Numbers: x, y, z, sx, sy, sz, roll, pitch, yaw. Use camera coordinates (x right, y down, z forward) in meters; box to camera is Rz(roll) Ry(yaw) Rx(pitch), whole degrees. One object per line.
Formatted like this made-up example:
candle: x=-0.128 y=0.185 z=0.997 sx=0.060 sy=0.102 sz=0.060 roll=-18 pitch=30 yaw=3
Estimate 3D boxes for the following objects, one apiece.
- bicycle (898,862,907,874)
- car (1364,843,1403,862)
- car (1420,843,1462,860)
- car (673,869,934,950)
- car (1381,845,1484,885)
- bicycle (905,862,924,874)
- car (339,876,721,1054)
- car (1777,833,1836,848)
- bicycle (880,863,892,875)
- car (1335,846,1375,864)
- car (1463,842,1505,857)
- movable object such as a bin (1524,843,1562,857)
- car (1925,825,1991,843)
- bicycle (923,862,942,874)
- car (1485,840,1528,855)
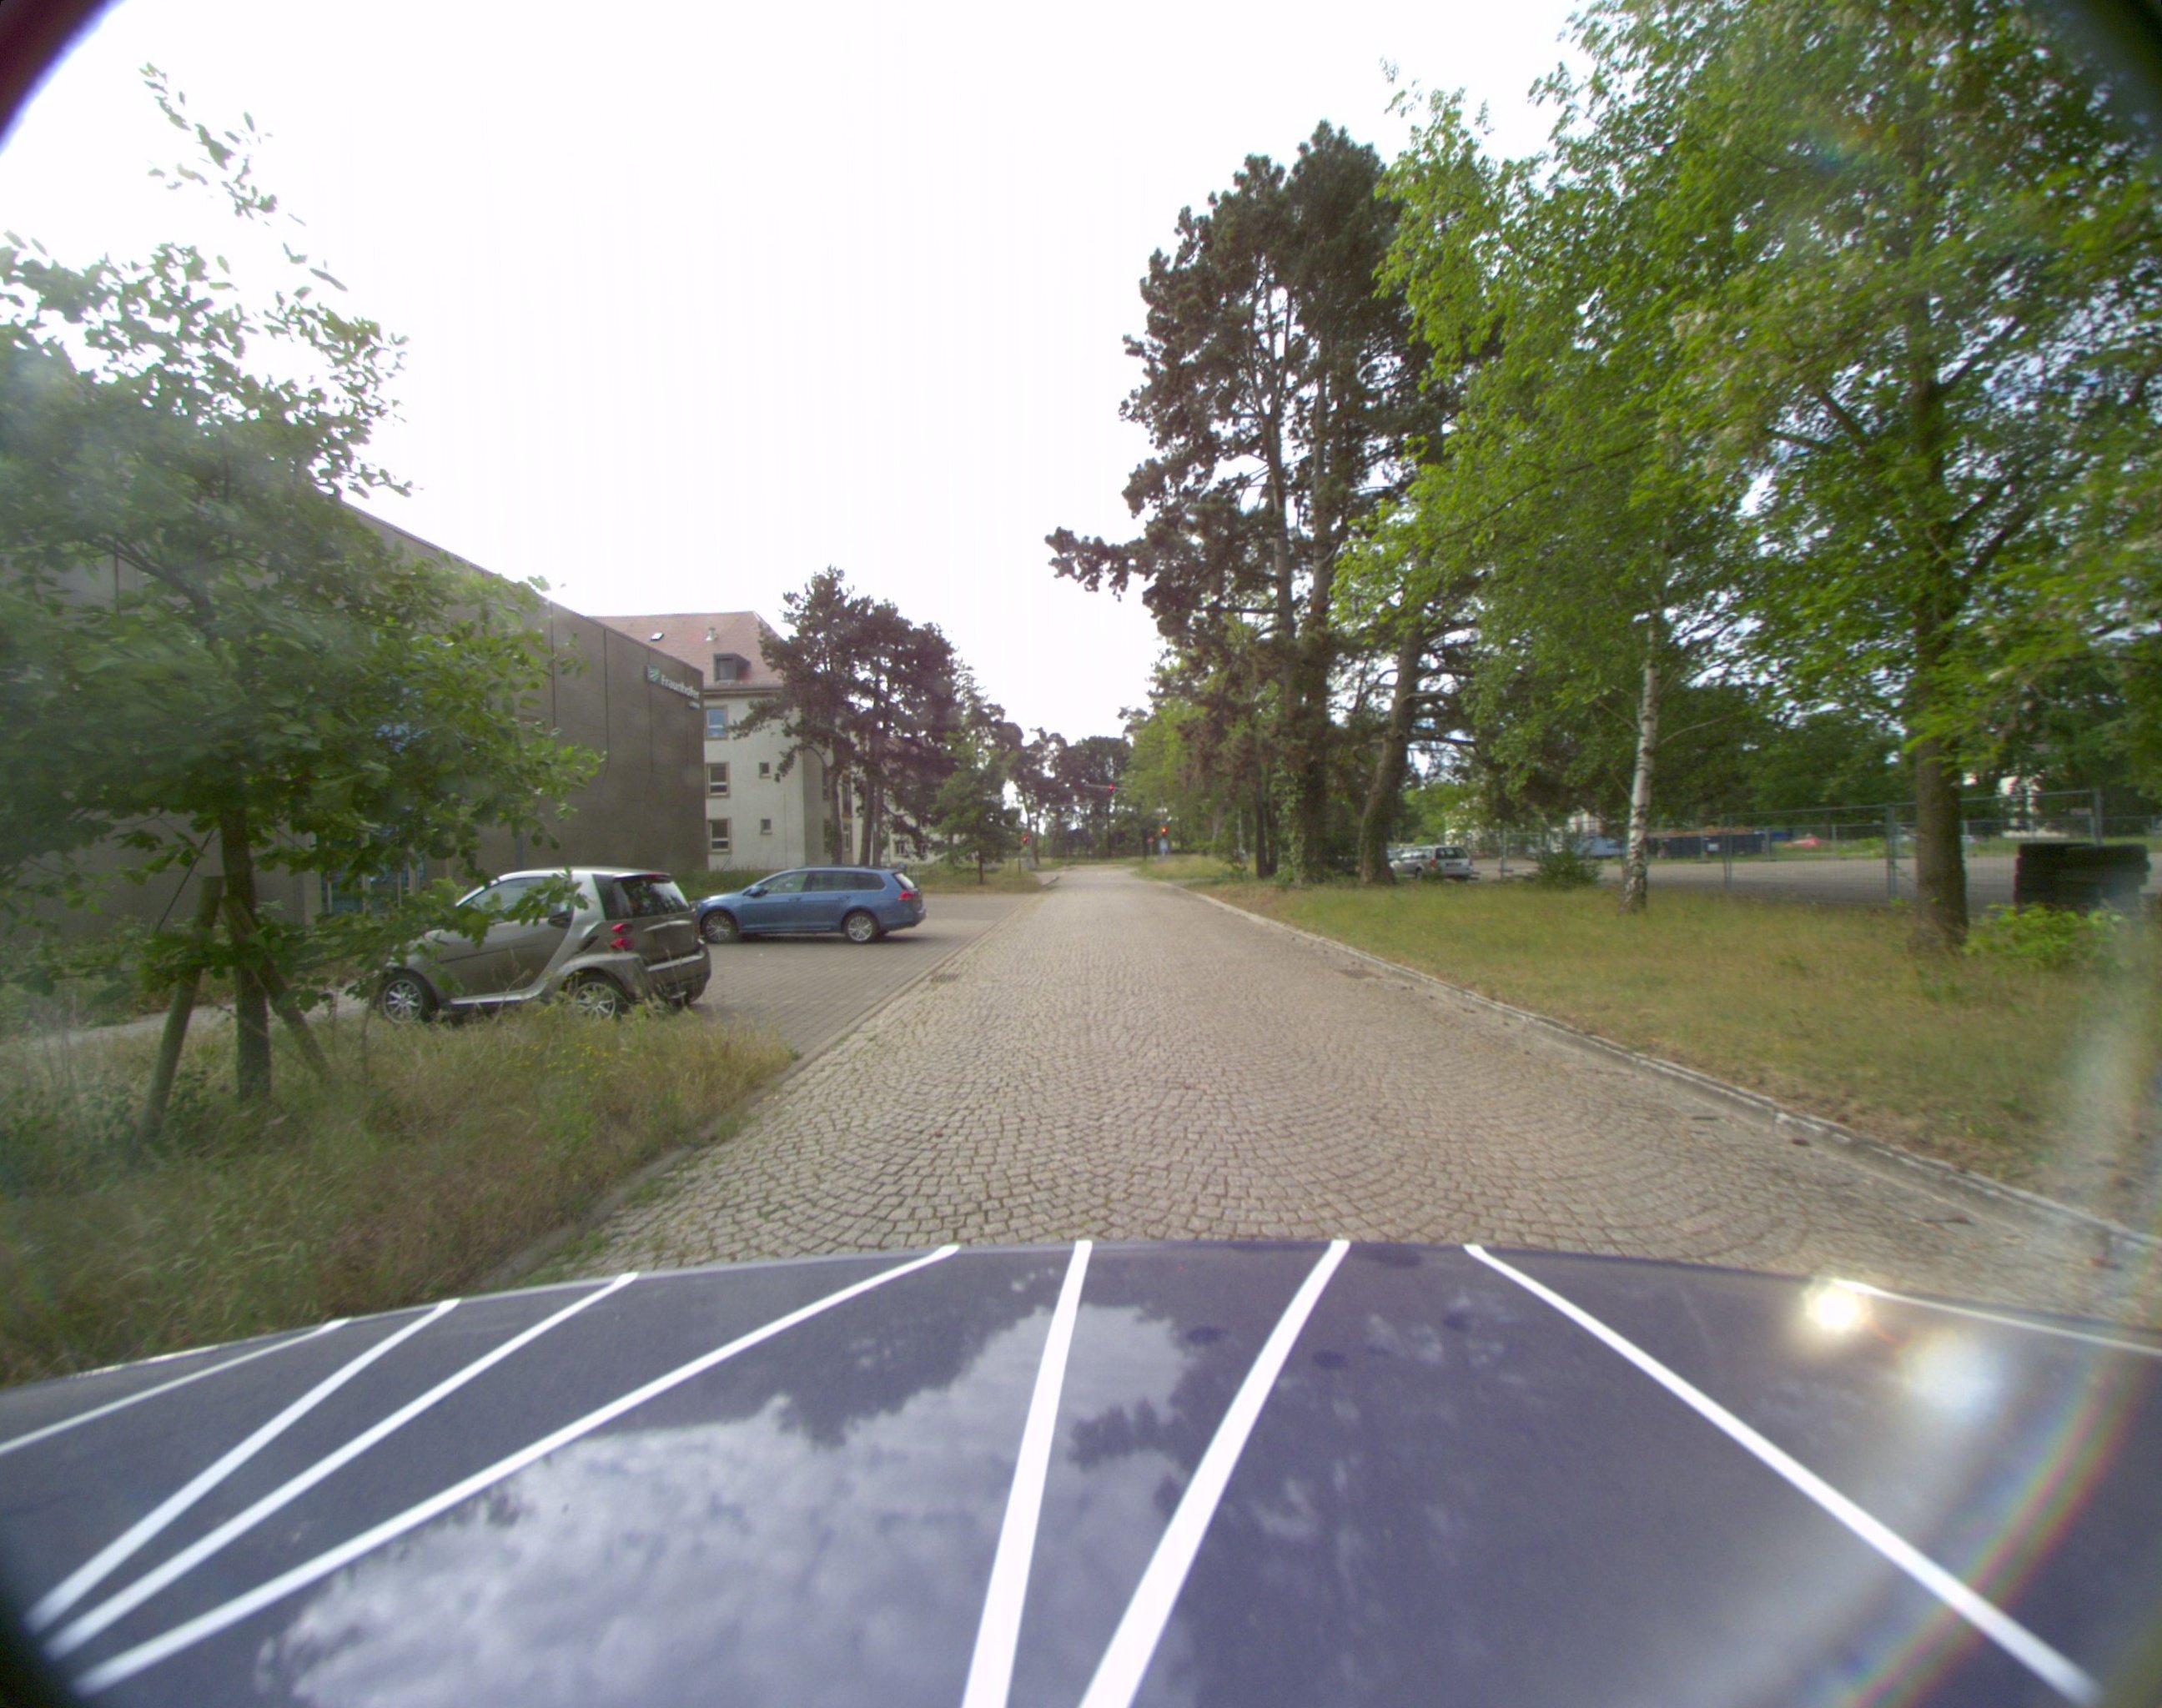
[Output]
bicycle: x=-17.571 y=1.405 z=74.942 sx=0.476 sy=1.121 sz=1.656 roll=-2 pitch=0 yaw=0
car: x=26.492 y=-0.111 z=66.685 sx=1.674 sy=1.510 sz=3.899 roll=-2 pitch=-2 yaw=-2
car: x=31.944 y=-0.193 z=67.543 sx=1.637 sy=1.391 sz=4.036 roll=-2 pitch=0 yaw=-2
car: x=-5.338 y=1.047 z=15.089 sx=4.502 sy=1.466 sz=1.830 roll=0 pitch=0 yaw=-2
car: x=13.412 y=0.388 z=29.339 sx=1.829 sy=1.408 sz=4.420 roll=1 pitch=0 yaw=-2
bicycle: x=-16.020 y=1.320 z=73.293 sx=1.655 sy=1.079 sz=0.615 roll=-2 pitch=1 yaw=3
car: x=-5.443 y=1.032 z=7.770 sx=2.716 sy=1.547 sz=1.654 roll=0 pitch=0 yaw=3
car: x=74.202 y=-1.377 z=77.777 sx=1.829 sy=1.466 sz=4.402 roll=-2 pitch=0 yaw=0
bicycle: x=-19.166 y=1.445 z=74.811 sx=0.447 sy=1.121 sz=1.732 roll=-2 pitch=0 yaw=9
car: x=23.989 y=0.073 z=66.656 sx=1.829 sy=1.417 sz=4.319 roll=-2 pitch=0 yaw=-2
car: x=41.194 y=-0.470 z=77.843 sx=1.829 sy=1.466 sz=4.401 roll=-2 pitch=0 yaw=-2
movable object such as a bin: x=33.056 y=-0.258 z=54.423 sx=1.447 sy=0.963 sz=1.957 roll=-2 pitch=0 yaw=-7
car: x=89.113 y=-1.989 z=77.278 sx=1.828 sy=1.712 sz=4.585 roll=-2 pitch=0 yaw=9
bicycle: x=-14.318 y=1.337 z=73.424 sx=1.656 sy=1.079 sz=0.614 roll=-2 pitch=1 yaw=-3
car: x=43.746 y=-0.638 z=78.164 sx=1.829 sy=1.466 sz=4.401 roll=-2 pitch=0 yaw=-2
